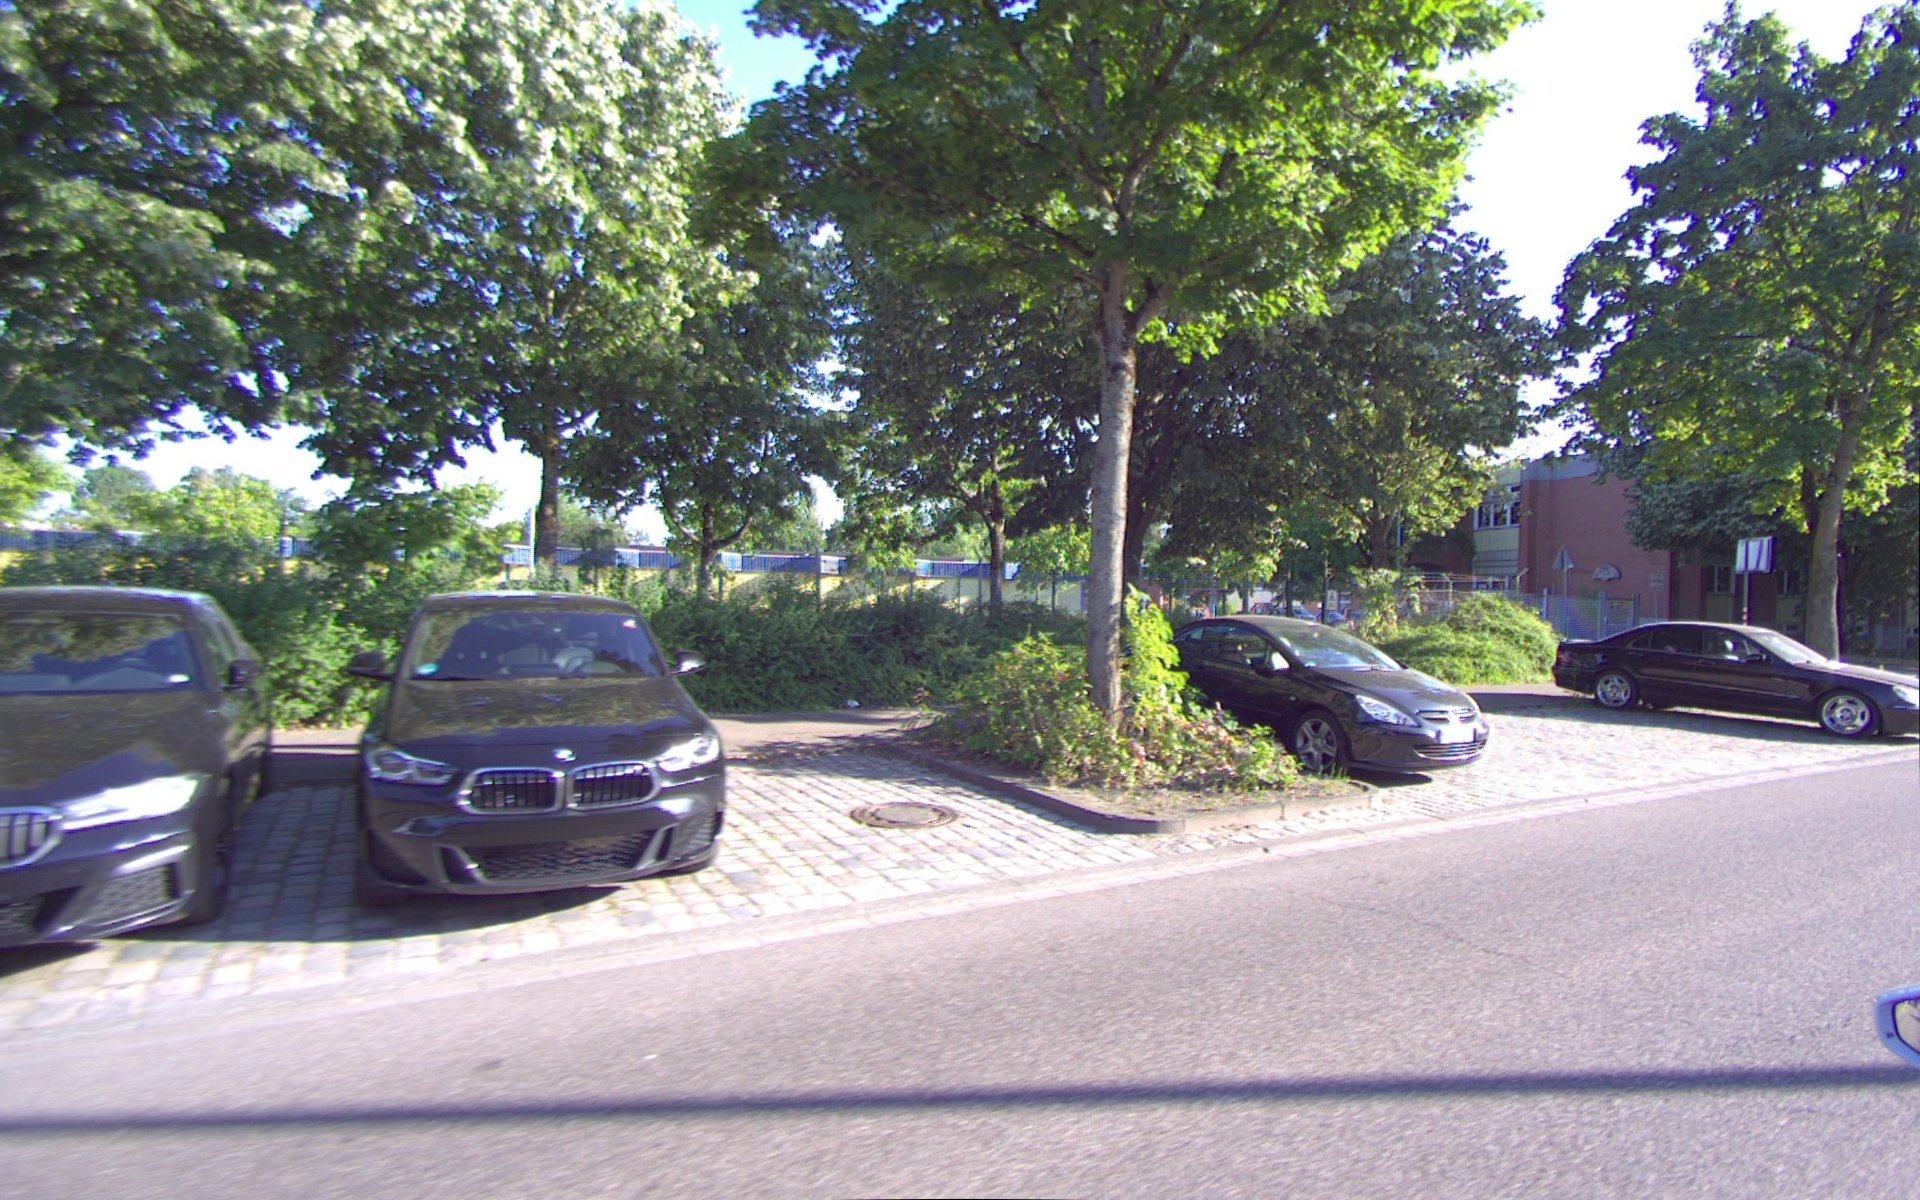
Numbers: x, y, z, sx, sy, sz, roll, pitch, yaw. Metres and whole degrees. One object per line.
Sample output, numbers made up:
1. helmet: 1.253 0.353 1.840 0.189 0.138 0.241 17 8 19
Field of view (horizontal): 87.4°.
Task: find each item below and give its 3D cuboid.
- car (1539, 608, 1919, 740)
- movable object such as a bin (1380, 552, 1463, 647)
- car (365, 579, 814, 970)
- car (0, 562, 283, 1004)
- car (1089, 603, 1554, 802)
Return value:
1. car: 11.977 0.979 15.429 1.977 1.482 5.009 1 2 -30
2. movable object such as a bin: 14.208 0.008 31.063 2.123 2.700 4.801 1 0 24
3. car: -2.739 0.707 6.626 1.977 1.551 4.457 1 2 -30
4. car: -4.969 0.604 5.537 1.979 1.551 4.819 1 2 -34
5. car: 3.547 0.875 10.779 1.977 1.482 4.457 1 2 -30
